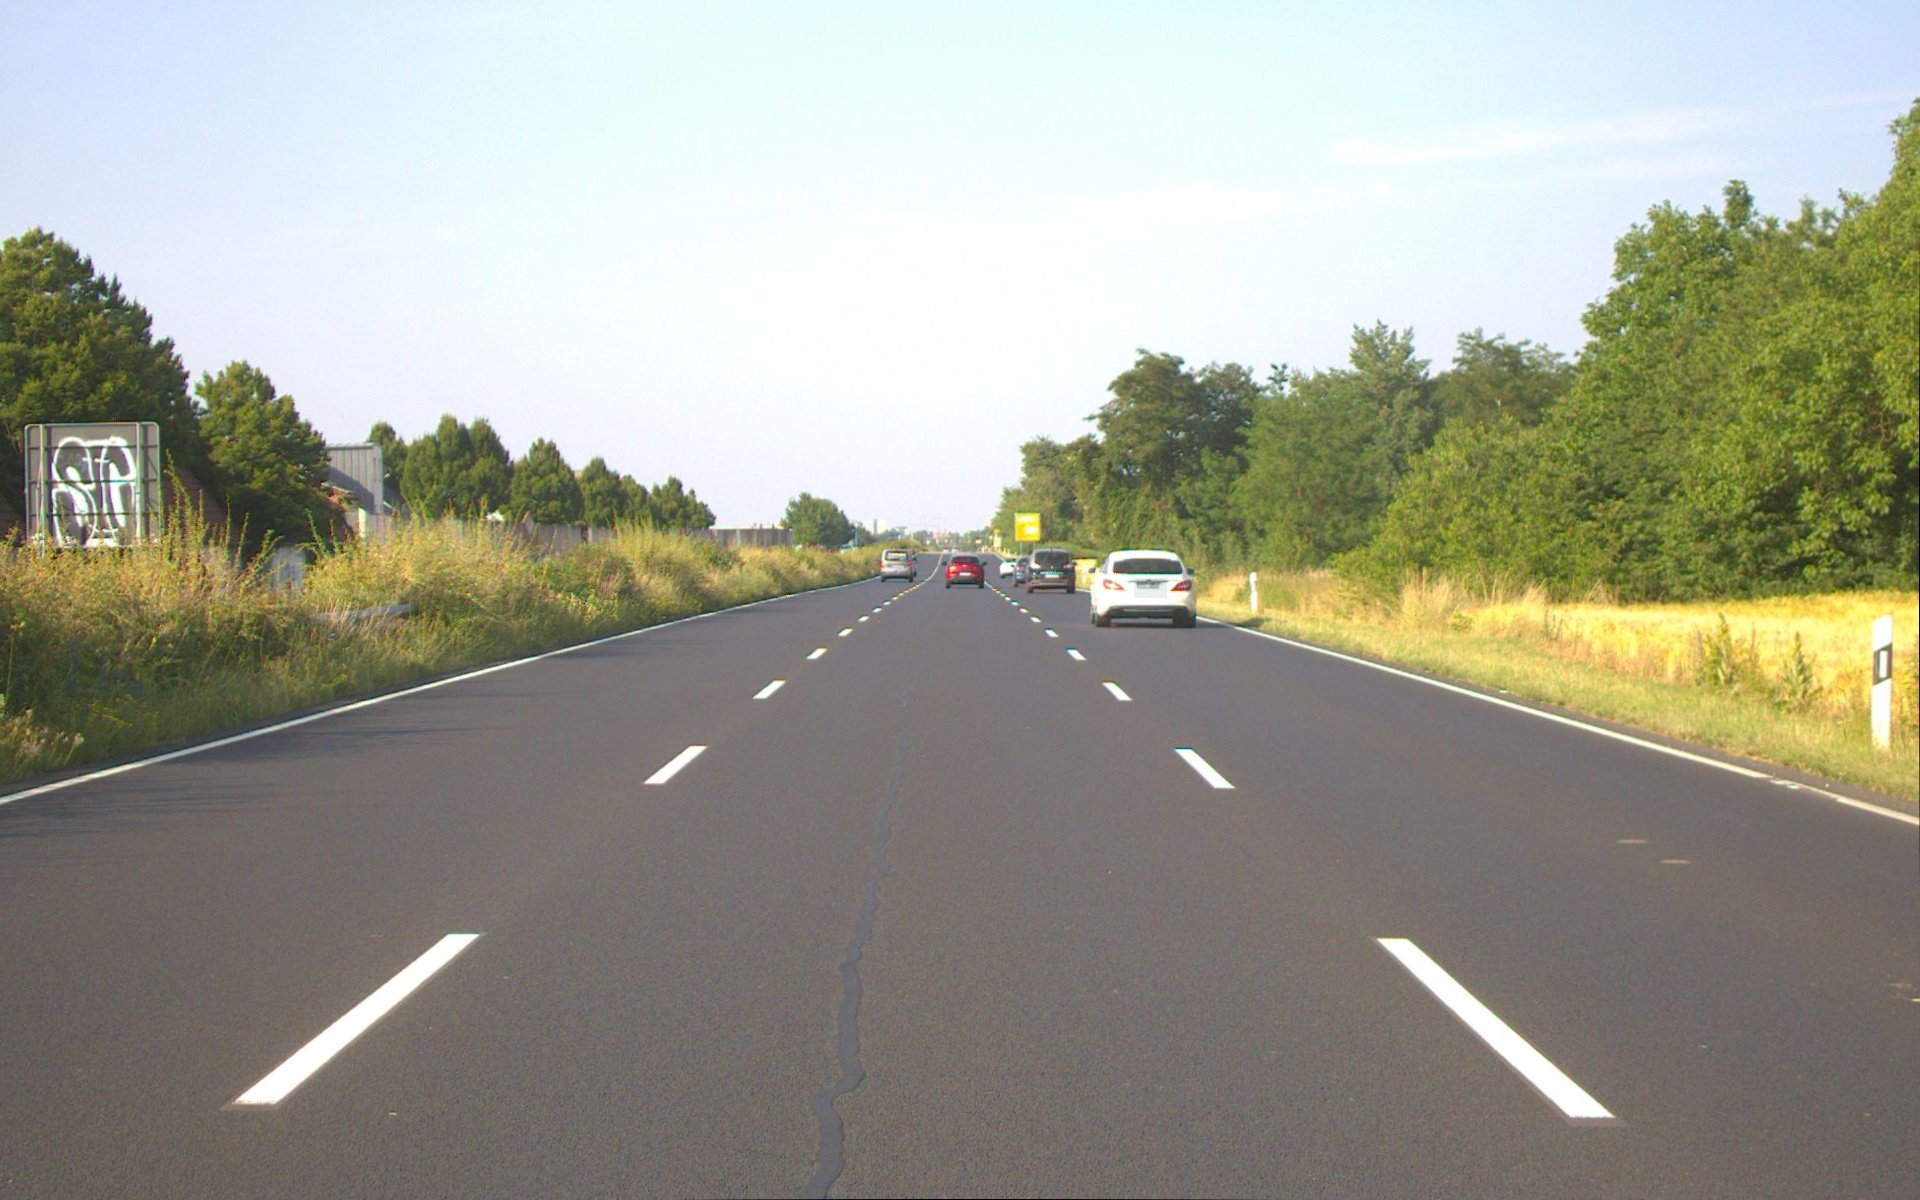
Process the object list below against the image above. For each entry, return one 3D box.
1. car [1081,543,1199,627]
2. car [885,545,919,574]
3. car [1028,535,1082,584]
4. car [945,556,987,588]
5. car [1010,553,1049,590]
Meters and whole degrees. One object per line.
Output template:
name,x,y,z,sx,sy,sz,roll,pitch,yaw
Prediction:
car,3.364,-0.274,65.045,1.993,1.511,4.000,1,0,0
car,-3.330,-2.345,198.654,1.758,1.612,4.000,1,0,2
car,3.514,-1.486,127.280,1.828,1.722,4.000,1,0,0
car,0.271,-1.256,155.324,1.812,1.431,3.858,1,0,-1
car,3.358,-1.371,166.940,1.834,1.711,3.862,1,0,0
